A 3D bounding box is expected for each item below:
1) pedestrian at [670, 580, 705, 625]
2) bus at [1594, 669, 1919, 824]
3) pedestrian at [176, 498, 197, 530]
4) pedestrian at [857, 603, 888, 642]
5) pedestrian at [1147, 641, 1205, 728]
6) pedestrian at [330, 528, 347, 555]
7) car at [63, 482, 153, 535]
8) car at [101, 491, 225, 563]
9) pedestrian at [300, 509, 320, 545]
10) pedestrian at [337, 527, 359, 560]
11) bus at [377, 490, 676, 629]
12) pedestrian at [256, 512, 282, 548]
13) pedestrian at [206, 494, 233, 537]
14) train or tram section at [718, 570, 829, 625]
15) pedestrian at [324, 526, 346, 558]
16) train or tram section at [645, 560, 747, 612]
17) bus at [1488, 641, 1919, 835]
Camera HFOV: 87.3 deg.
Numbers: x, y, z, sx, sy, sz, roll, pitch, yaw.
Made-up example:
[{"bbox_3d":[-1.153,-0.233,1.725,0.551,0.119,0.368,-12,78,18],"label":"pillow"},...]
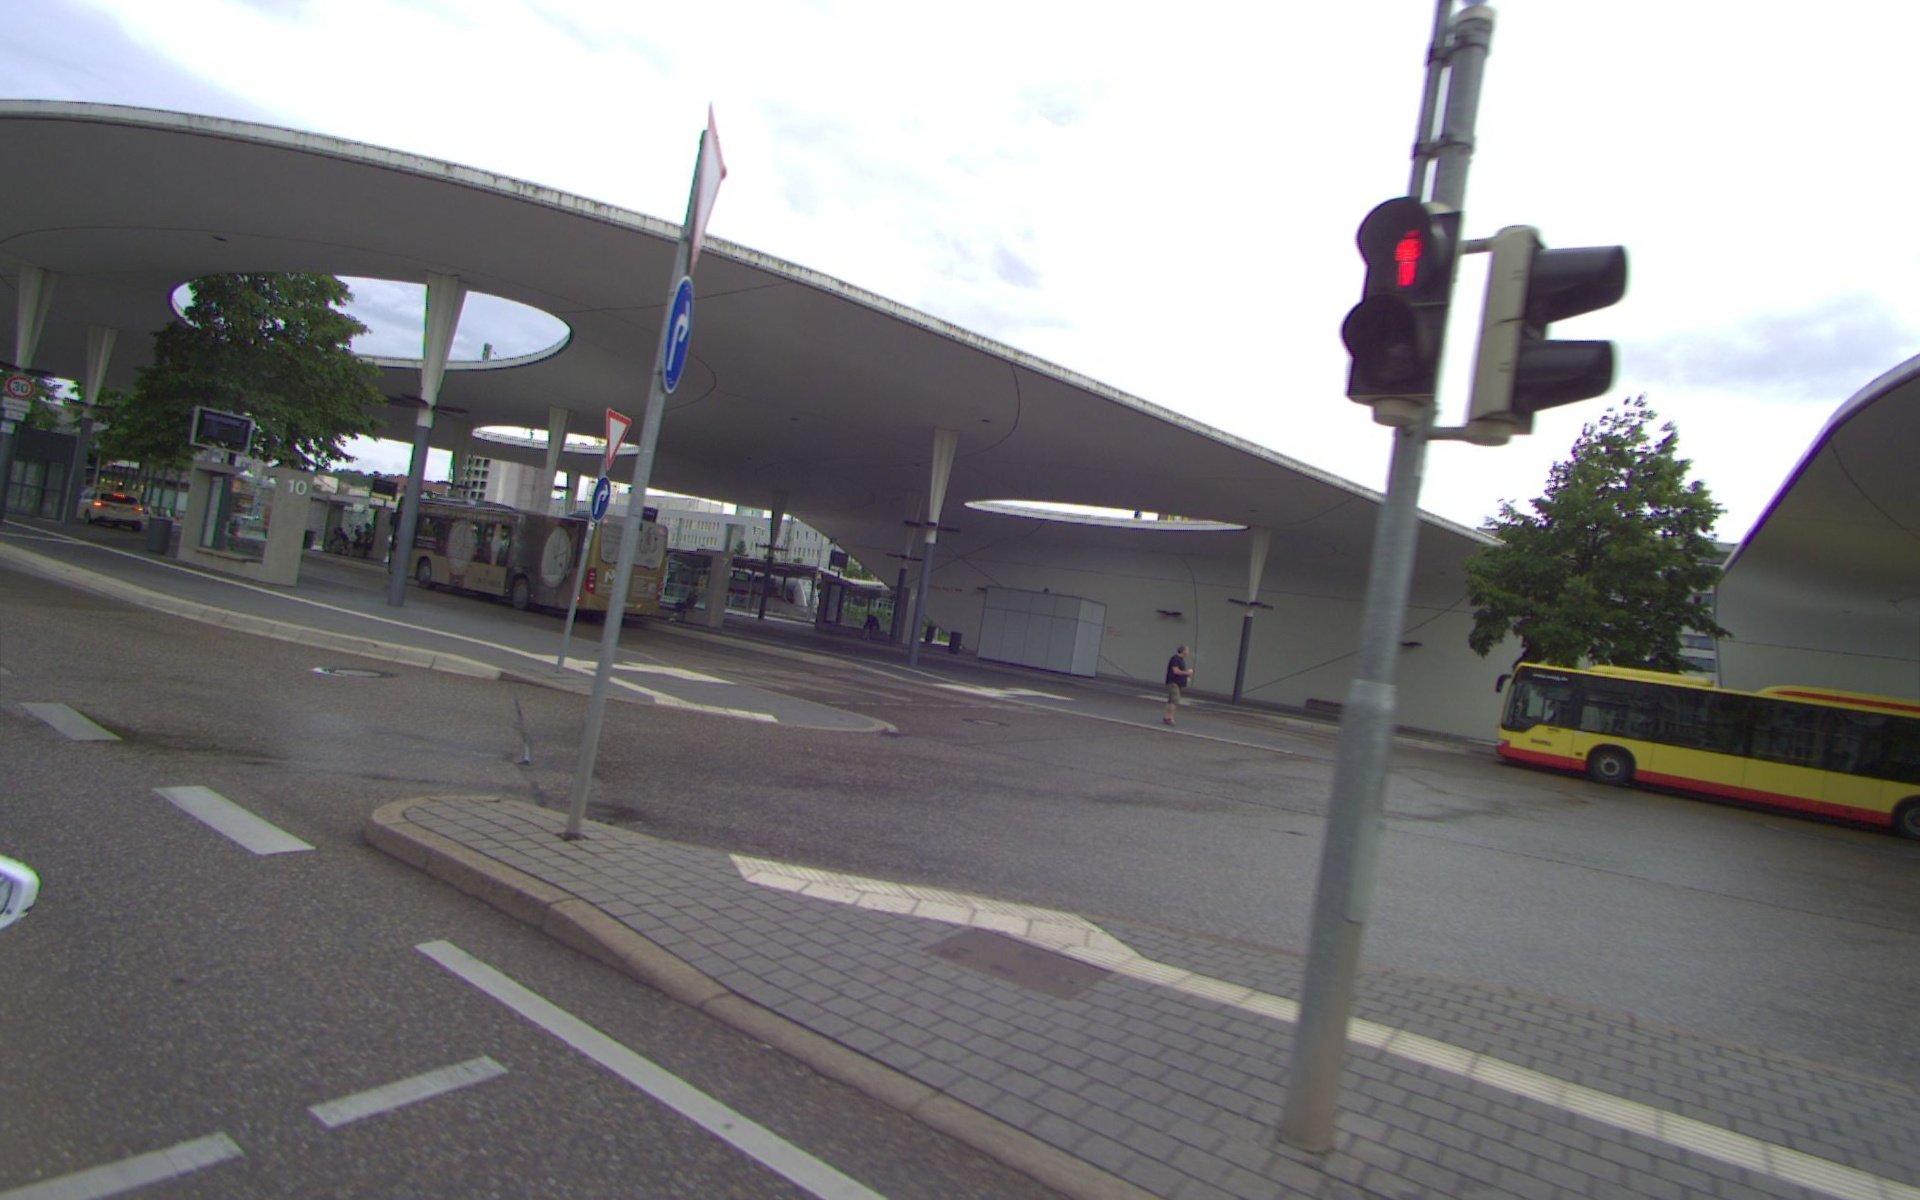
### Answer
[{"bbox_3d":[-9.252,0.073,34.139,0.789,1.394,0.627,8,0,-37],"label":"pedestrian"},{"bbox_3d":[26.488,4.682,32.600,9.699,3.440,2.517,7,0,34],"label":"bus"},{"bbox_3d":[-41.584,-4.611,54.094,0.574,1.593,0.559,10,-5,-25],"label":"pedestrian"},{"bbox_3d":[-3.968,1.019,45.633,0.893,1.603,0.797,7,-3,29],"label":"pedestrian"},{"bbox_3d":[4.670,1.816,21.844,1.002,1.705,0.720,7,1,10],"label":"pedestrian"},{"bbox_3d":[-30.246,-2.840,48.958,0.455,1.265,0.559,9,-1,-25],"label":"pedestrian"},{"bbox_3d":[-36.008,-3.863,42.482,4.172,1.681,1.714,8,-2,35],"label":"car"},{"bbox_3d":[-21.969,-2.016,27.711,3.185,1.470,1.649,8,-1,34],"label":"car"},{"bbox_3d":[-33.437,-3.763,51.741,0.706,1.731,0.757,3,6,-42],"label":"pedestrian"},{"bbox_3d":[-29.596,-2.745,48.663,0.603,1.461,0.561,7,-1,32],"label":"pedestrian"},{"bbox_3d":[-14.052,-1.432,31.789,11.899,3.080,2.723,8,0,36],"label":"bus"},{"bbox_3d":[-32.283,-3.268,47.012,0.699,1.600,0.600,6,-1,26],"label":"pedestrian"},{"bbox_3d":[-38.366,-4.360,52.144,0.718,2.033,0.666,10,-6,-28],"label":"pedestrian"},{"bbox_3d":[-18.323,-0.317,98.191,11.432,3.715,3.140,7,-4,35],"label":"train or tram section"},{"bbox_3d":[-30.604,-2.828,49.238,0.603,1.461,0.561,7,-1,32],"label":"pedestrian"},{"bbox_3d":[-27.588,-1.549,104.831,11.431,3.718,3.140,8,-4,35],"label":"train or tram section"},{"bbox_3d":[20.209,3.506,25.114,11.946,3.295,2.792,7,-1,34],"label":"bus"}]
